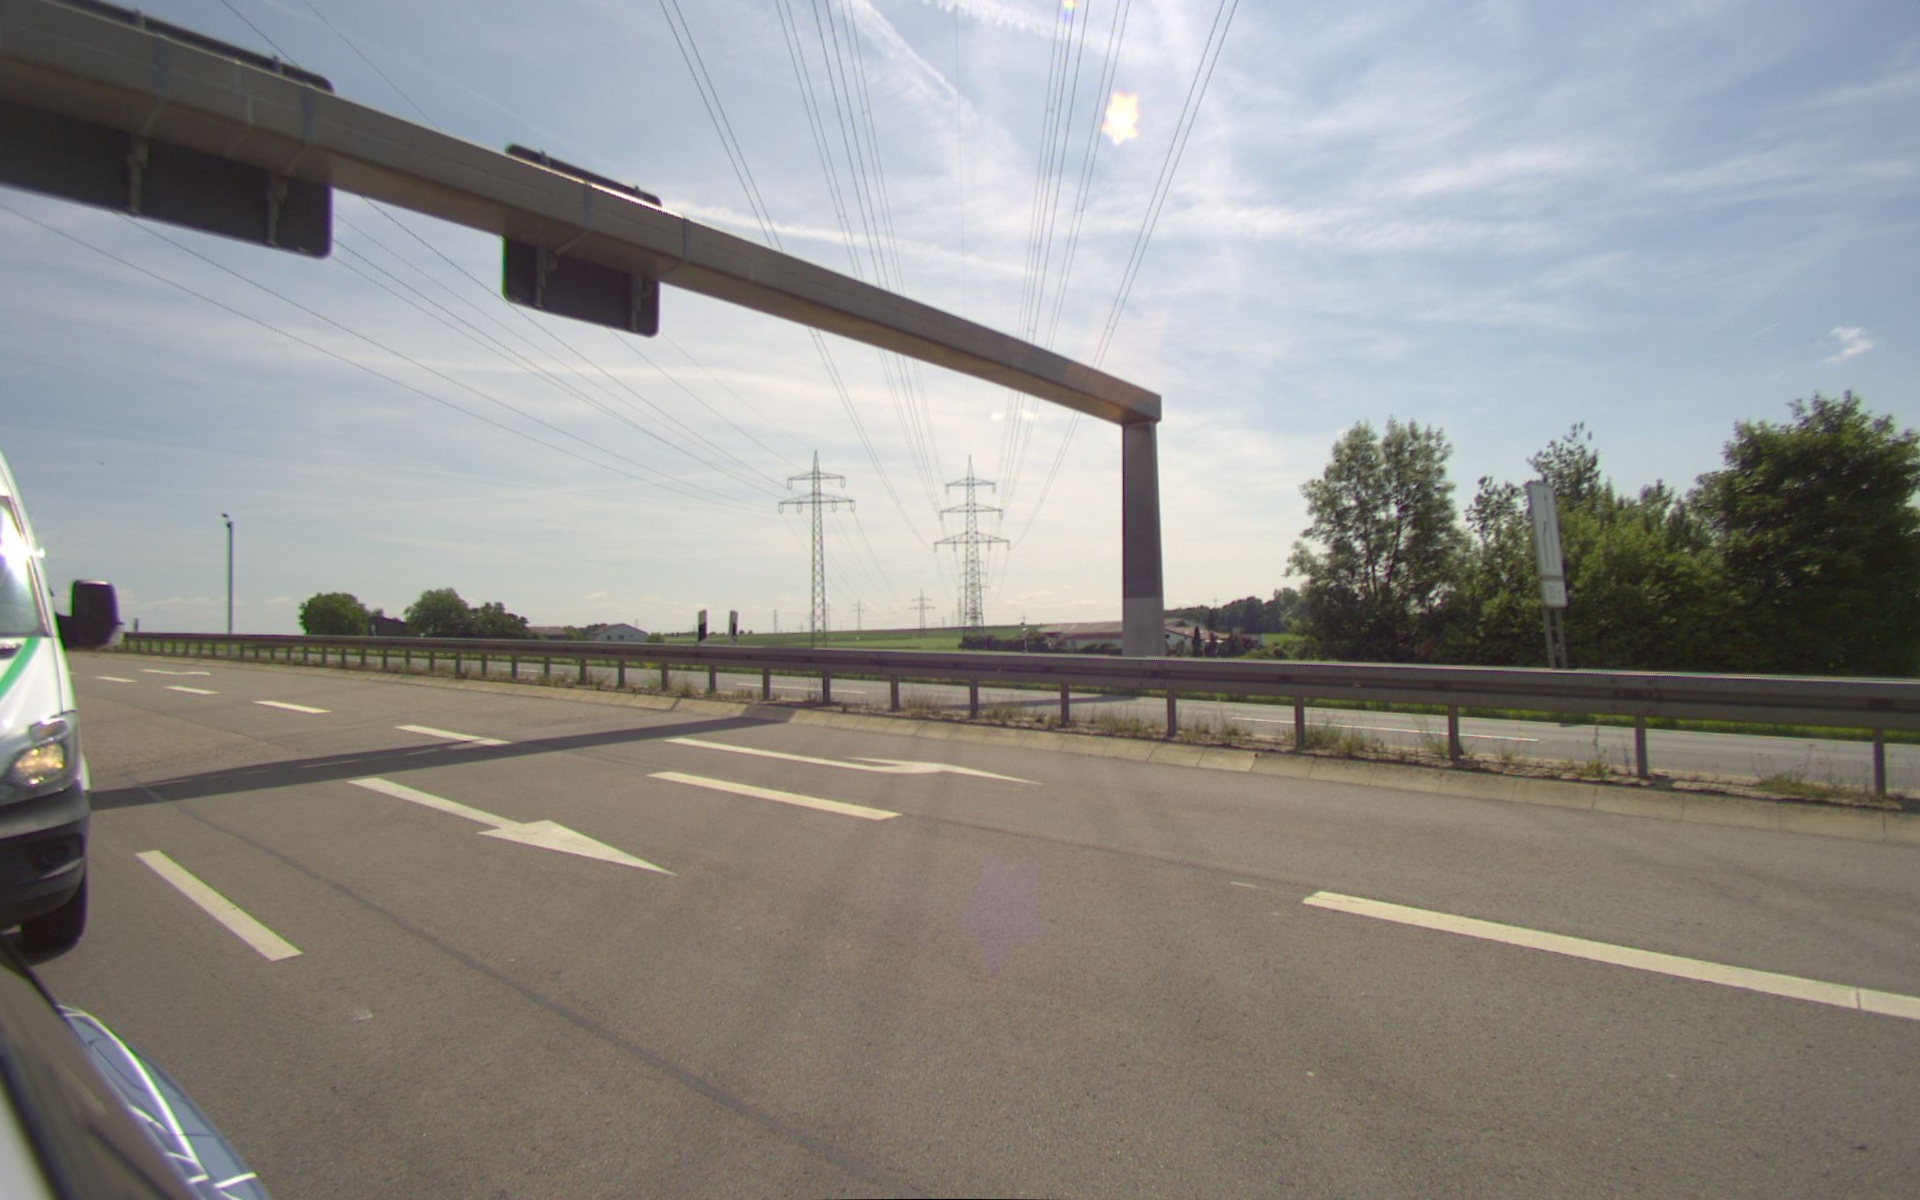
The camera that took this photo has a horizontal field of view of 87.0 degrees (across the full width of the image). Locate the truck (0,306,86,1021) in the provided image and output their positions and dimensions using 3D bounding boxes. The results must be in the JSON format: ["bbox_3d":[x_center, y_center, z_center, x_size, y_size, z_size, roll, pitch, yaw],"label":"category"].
[{"bbox_3d":[-5.805,0.264,4.790,5.105,2.552,1.972,-1,-1,43],"label":"truck"}]
